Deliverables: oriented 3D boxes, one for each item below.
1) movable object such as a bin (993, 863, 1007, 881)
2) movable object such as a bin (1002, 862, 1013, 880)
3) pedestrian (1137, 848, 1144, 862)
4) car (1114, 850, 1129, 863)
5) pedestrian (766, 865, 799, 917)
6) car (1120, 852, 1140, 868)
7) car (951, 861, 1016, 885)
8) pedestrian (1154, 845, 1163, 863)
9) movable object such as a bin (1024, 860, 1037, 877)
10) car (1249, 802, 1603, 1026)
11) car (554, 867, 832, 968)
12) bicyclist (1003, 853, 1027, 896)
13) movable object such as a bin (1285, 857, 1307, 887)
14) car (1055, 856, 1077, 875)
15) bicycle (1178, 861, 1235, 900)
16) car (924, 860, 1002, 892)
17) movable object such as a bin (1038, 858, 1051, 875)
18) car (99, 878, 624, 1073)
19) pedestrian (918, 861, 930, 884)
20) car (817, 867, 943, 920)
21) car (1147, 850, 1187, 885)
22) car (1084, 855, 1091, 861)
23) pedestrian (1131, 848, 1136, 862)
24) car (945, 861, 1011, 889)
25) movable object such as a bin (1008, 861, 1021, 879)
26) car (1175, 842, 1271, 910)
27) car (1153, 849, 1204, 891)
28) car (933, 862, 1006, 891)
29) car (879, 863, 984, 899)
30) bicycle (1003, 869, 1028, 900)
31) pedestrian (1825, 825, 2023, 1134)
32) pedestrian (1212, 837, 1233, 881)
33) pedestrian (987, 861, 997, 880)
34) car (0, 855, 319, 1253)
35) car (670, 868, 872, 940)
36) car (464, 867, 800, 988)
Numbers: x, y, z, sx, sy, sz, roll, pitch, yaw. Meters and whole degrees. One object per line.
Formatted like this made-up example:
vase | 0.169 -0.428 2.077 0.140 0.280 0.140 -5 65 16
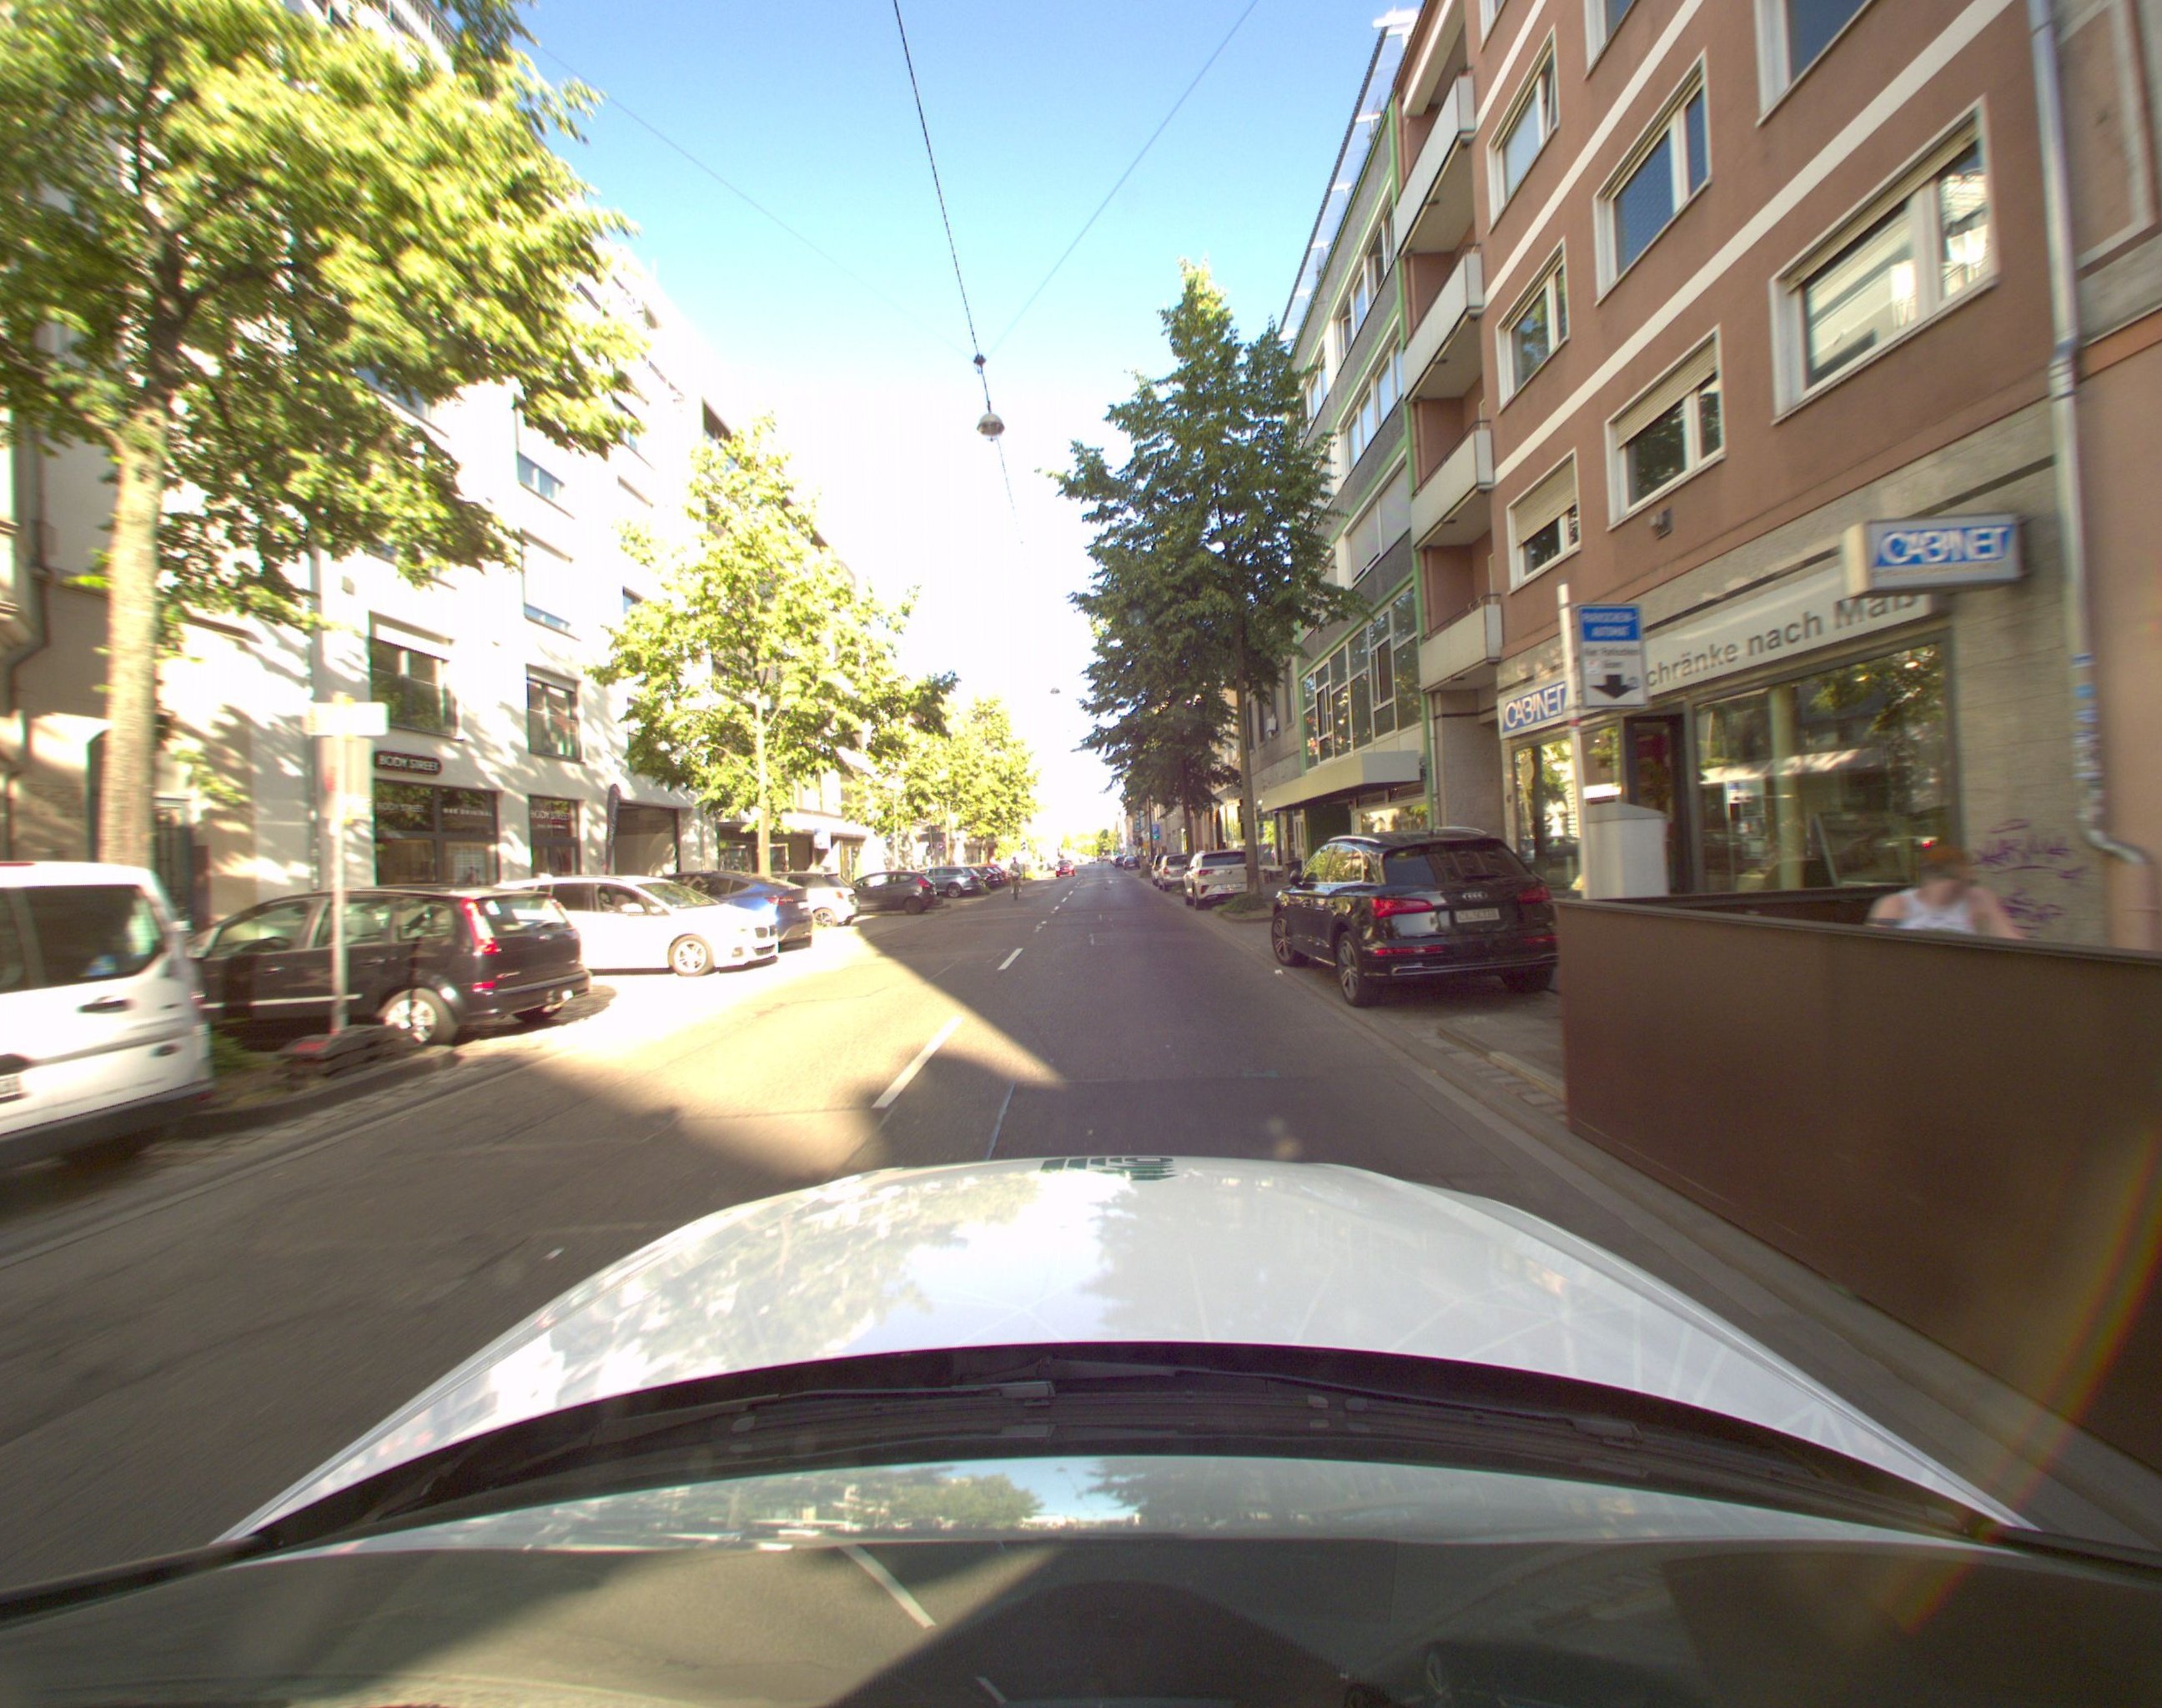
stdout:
movable object such as a bin | -7.123 1.603 71.750 1.039 1.471 1.143 -4 0 0
movable object such as a bin | -5.848 1.330 64.689 0.752 1.341 0.805 -4 0 0
pedestrian | 7.769 0.125 105.874 0.797 1.674 0.590 -5 -1 4
car | 5.451 0.302 110.495 1.966 1.725 4.826 -2 0 2
pedestrian | -10.538 1.299 28.788 0.694 1.797 0.748 -3 0 13
car | 5.435 0.636 90.863 1.910 1.478 4.966 -7 0 2
car | -6.791 1.321 56.970 4.185 1.468 1.741 -3 0 3
pedestrian | 7.214 0.003 75.519 0.578 1.559 1.021 -6 -1 0
movable object such as a bin | -4.441 1.264 71.678 1.039 1.471 1.143 -4 0 0
car | 3.421 0.510 9.223 1.987 1.689 4.517 -7 0 1
car | -7.357 1.178 15.779 4.350 1.570 1.981 -3 0 1
bicyclist | -2.686 0.834 33.353 0.722 1.700 1.283 -3 0 2
movable object such as a bin | 7.055 0.580 26.743 0.520 0.956 0.656 -4 0 2
car | -1.310 1.029 72.879 1.652 1.535 3.762 -5 0 2
bicycle | 3.972 0.841 25.836 1.618 1.012 0.611 -8 0 -1
car | -6.410 1.191 44.479 3.903 1.485 1.772 -3 0 2
movable object such as a bin | -3.205 1.106 71.863 1.039 1.471 1.452 -4 0 0
car | -7.189 1.156 8.447 3.785 1.558 1.792 -3 0 1
pedestrian | -9.971 1.179 51.746 0.505 1.408 0.826 -2 0 6
car | -6.595 1.270 27.064 3.776 1.458 1.777 -3 0 -6
car | 4.320 0.666 41.145 1.608 1.528 3.061 -5 0 0
car | 1.958 1.284 261.808 1.985 1.771 4.003 -2 0 3
pedestrian | 6.854 0.127 106.096 0.617 1.766 0.519 -3 -1 4
car | -6.255 1.272 49.651 3.735 1.468 1.740 -3 0 0
movable object such as a bin | -5.846 1.407 71.839 0.961 1.471 1.143 -4 -1 0
car | 3.836 0.560 22.722 1.876 1.527 4.234 -6 0 1
car | 4.140 0.653 35.167 1.608 1.528 4.235 -7 0 1
car | -6.409 1.281 47.121 3.825 1.429 1.791 -3 0 2
car | -6.891 1.225 37.906 4.479 1.458 1.790 -2 0 -1
bicycle | -2.661 1.226 33.407 0.722 1.169 2.198 -3 0 2
pedestrian | 3.922 0.545 3.828 0.468 1.331 0.486 -3 -1 28
pedestrian | 5.987 0.204 34.543 0.620 1.765 0.771 -6 0 2
pedestrian | -8.225 1.527 75.030 0.662 1.659 1.037 -3 0 1
car | -7.068 1.015 4.308 4.090 1.836 2.039 -2 0 1
car | -7.628 1.199 20.386 4.235 1.458 1.978 -3 0 -3
car | -7.170 1.135 13.355 4.350 1.570 1.947 -3 0 1
